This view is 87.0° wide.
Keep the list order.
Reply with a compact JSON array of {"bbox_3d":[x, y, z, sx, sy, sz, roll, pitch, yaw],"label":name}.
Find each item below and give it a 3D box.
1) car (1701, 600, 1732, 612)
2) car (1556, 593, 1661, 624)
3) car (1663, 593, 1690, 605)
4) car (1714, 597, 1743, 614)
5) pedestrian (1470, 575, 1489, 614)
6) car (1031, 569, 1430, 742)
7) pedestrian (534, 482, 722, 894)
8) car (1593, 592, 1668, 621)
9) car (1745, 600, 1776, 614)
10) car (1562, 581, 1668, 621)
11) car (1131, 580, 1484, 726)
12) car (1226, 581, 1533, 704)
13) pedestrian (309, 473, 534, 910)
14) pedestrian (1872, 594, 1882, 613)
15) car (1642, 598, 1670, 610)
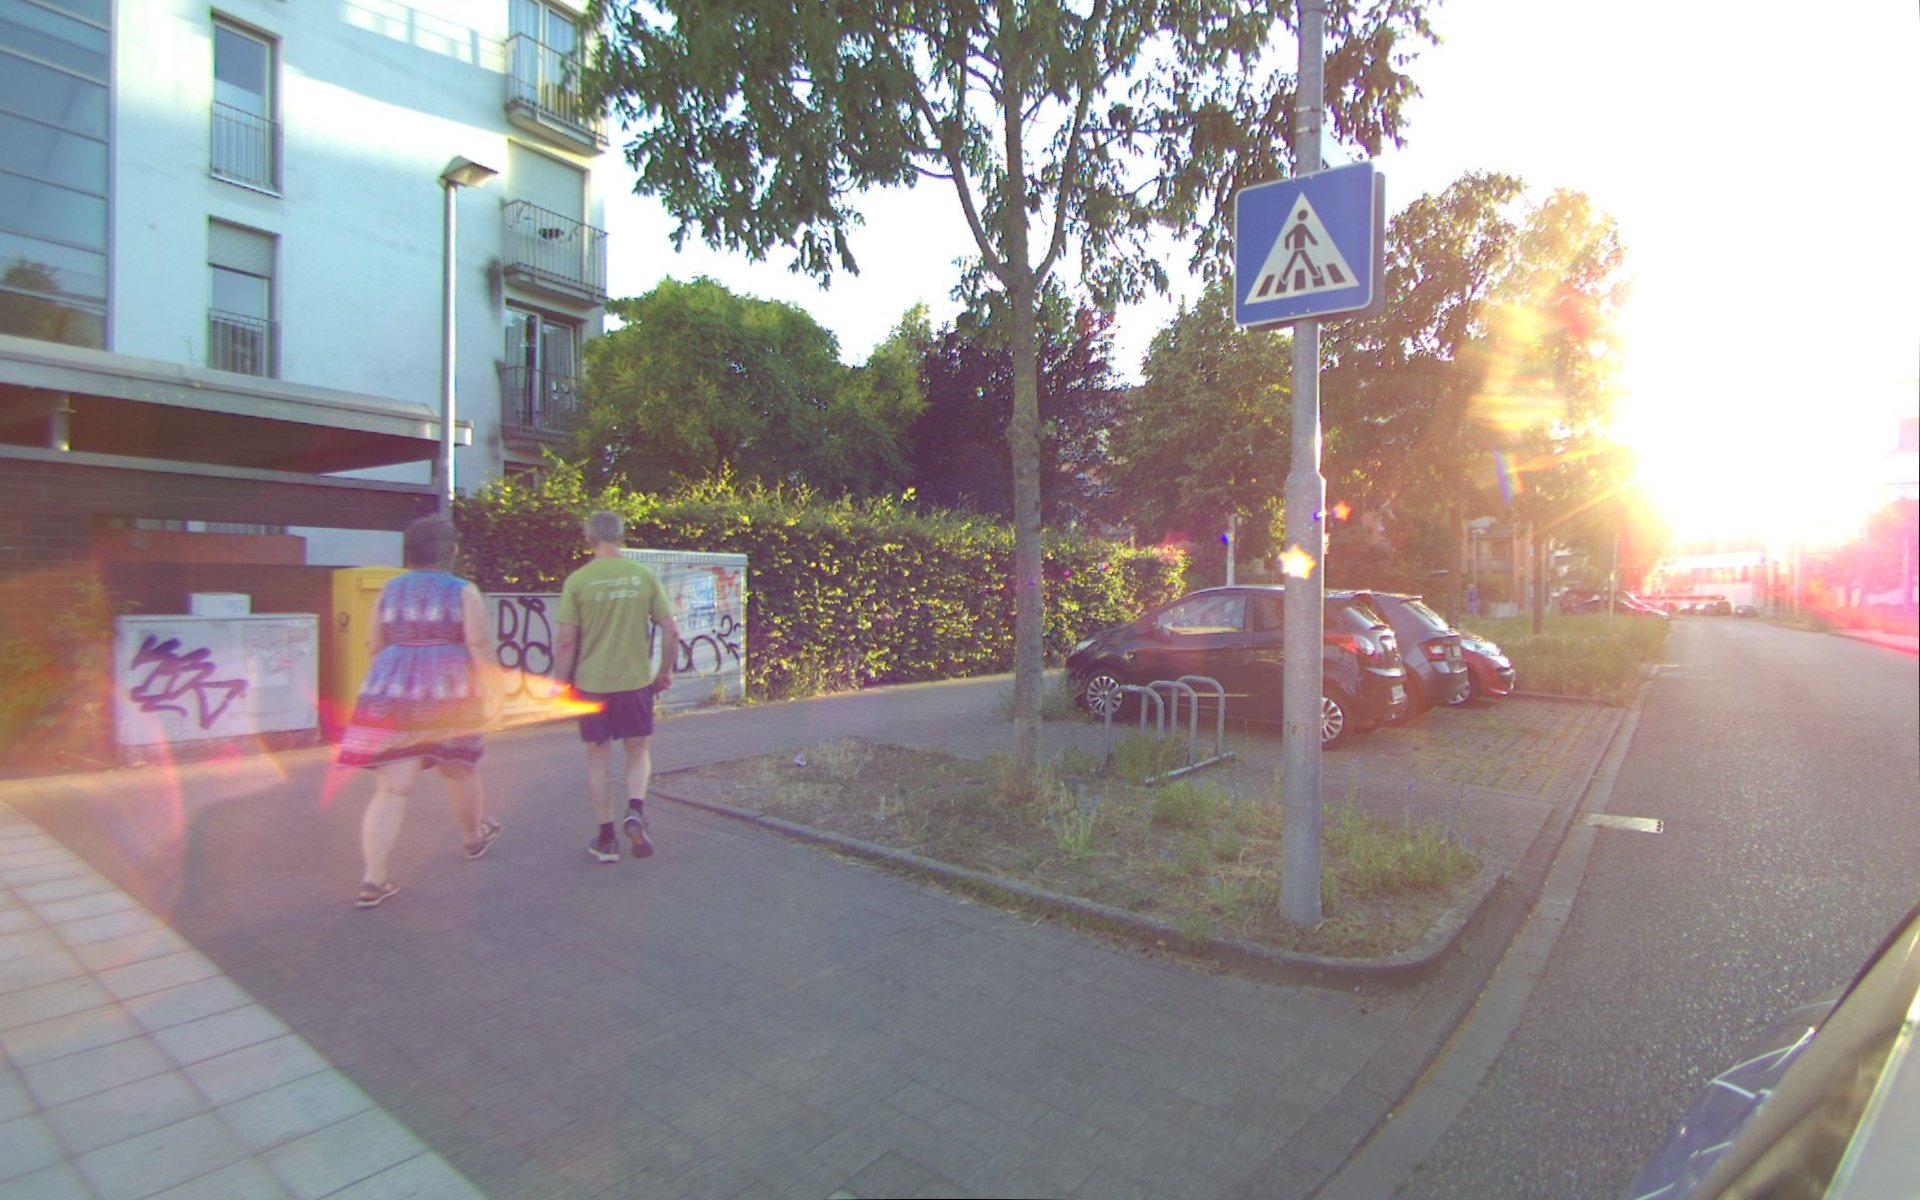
[{"bbox_3d":[96.113,0.748,128.578,1.843,1.496,4.489,-2,-1,20],"label":"car"},{"bbox_3d":[35.110,0.424,54.826,4.660,1.576,1.786,1,0,39],"label":"car"},{"bbox_3d":[100.388,-0.184,141.859,1.771,1.707,3.982,0,0,15],"label":"car"},{"bbox_3d":[94.278,0.618,124.172,1.876,1.998,4.476,-2,-1,26],"label":"car"},{"bbox_3d":[23.525,-0.256,45.857,0.667,1.765,0.690,0,-1,37],"label":"pedestrian"},{"bbox_3d":[2.794,0.471,10.766,3.791,1.527,1.657,1,0,36],"label":"car"},{"bbox_3d":[-1.611,0.346,4.814,0.744,1.714,1.024,1,2,-23],"label":"pedestrian"},{"bbox_3d":[38.981,0.374,58.828,3.518,1.483,1.594,3,1,38],"label":"car"},{"bbox_3d":[89.953,0.802,113.744,1.841,1.460,4.187,-2,-1,27],"label":"car"},{"bbox_3d":[37.007,0.048,57.229,4.910,2.144,1.989,1,0,39],"label":"car"},{"bbox_3d":[4.178,0.533,12.371,3.791,1.527,1.657,1,0,36],"label":"car"},{"bbox_3d":[5.919,0.511,14.426,3.791,1.527,1.657,1,0,36],"label":"car"},{"bbox_3d":[-2.344,0.342,4.518,0.685,1.714,0.989,0,2,-16],"label":"pedestrian"},{"bbox_3d":[89.565,0.368,98.852,0.443,1.860,0.481,-2,-1,16],"label":"pedestrian"},{"bbox_3d":[101.853,0.572,148.197,1.768,1.571,3.990,-2,0,9],"label":"car"}]
